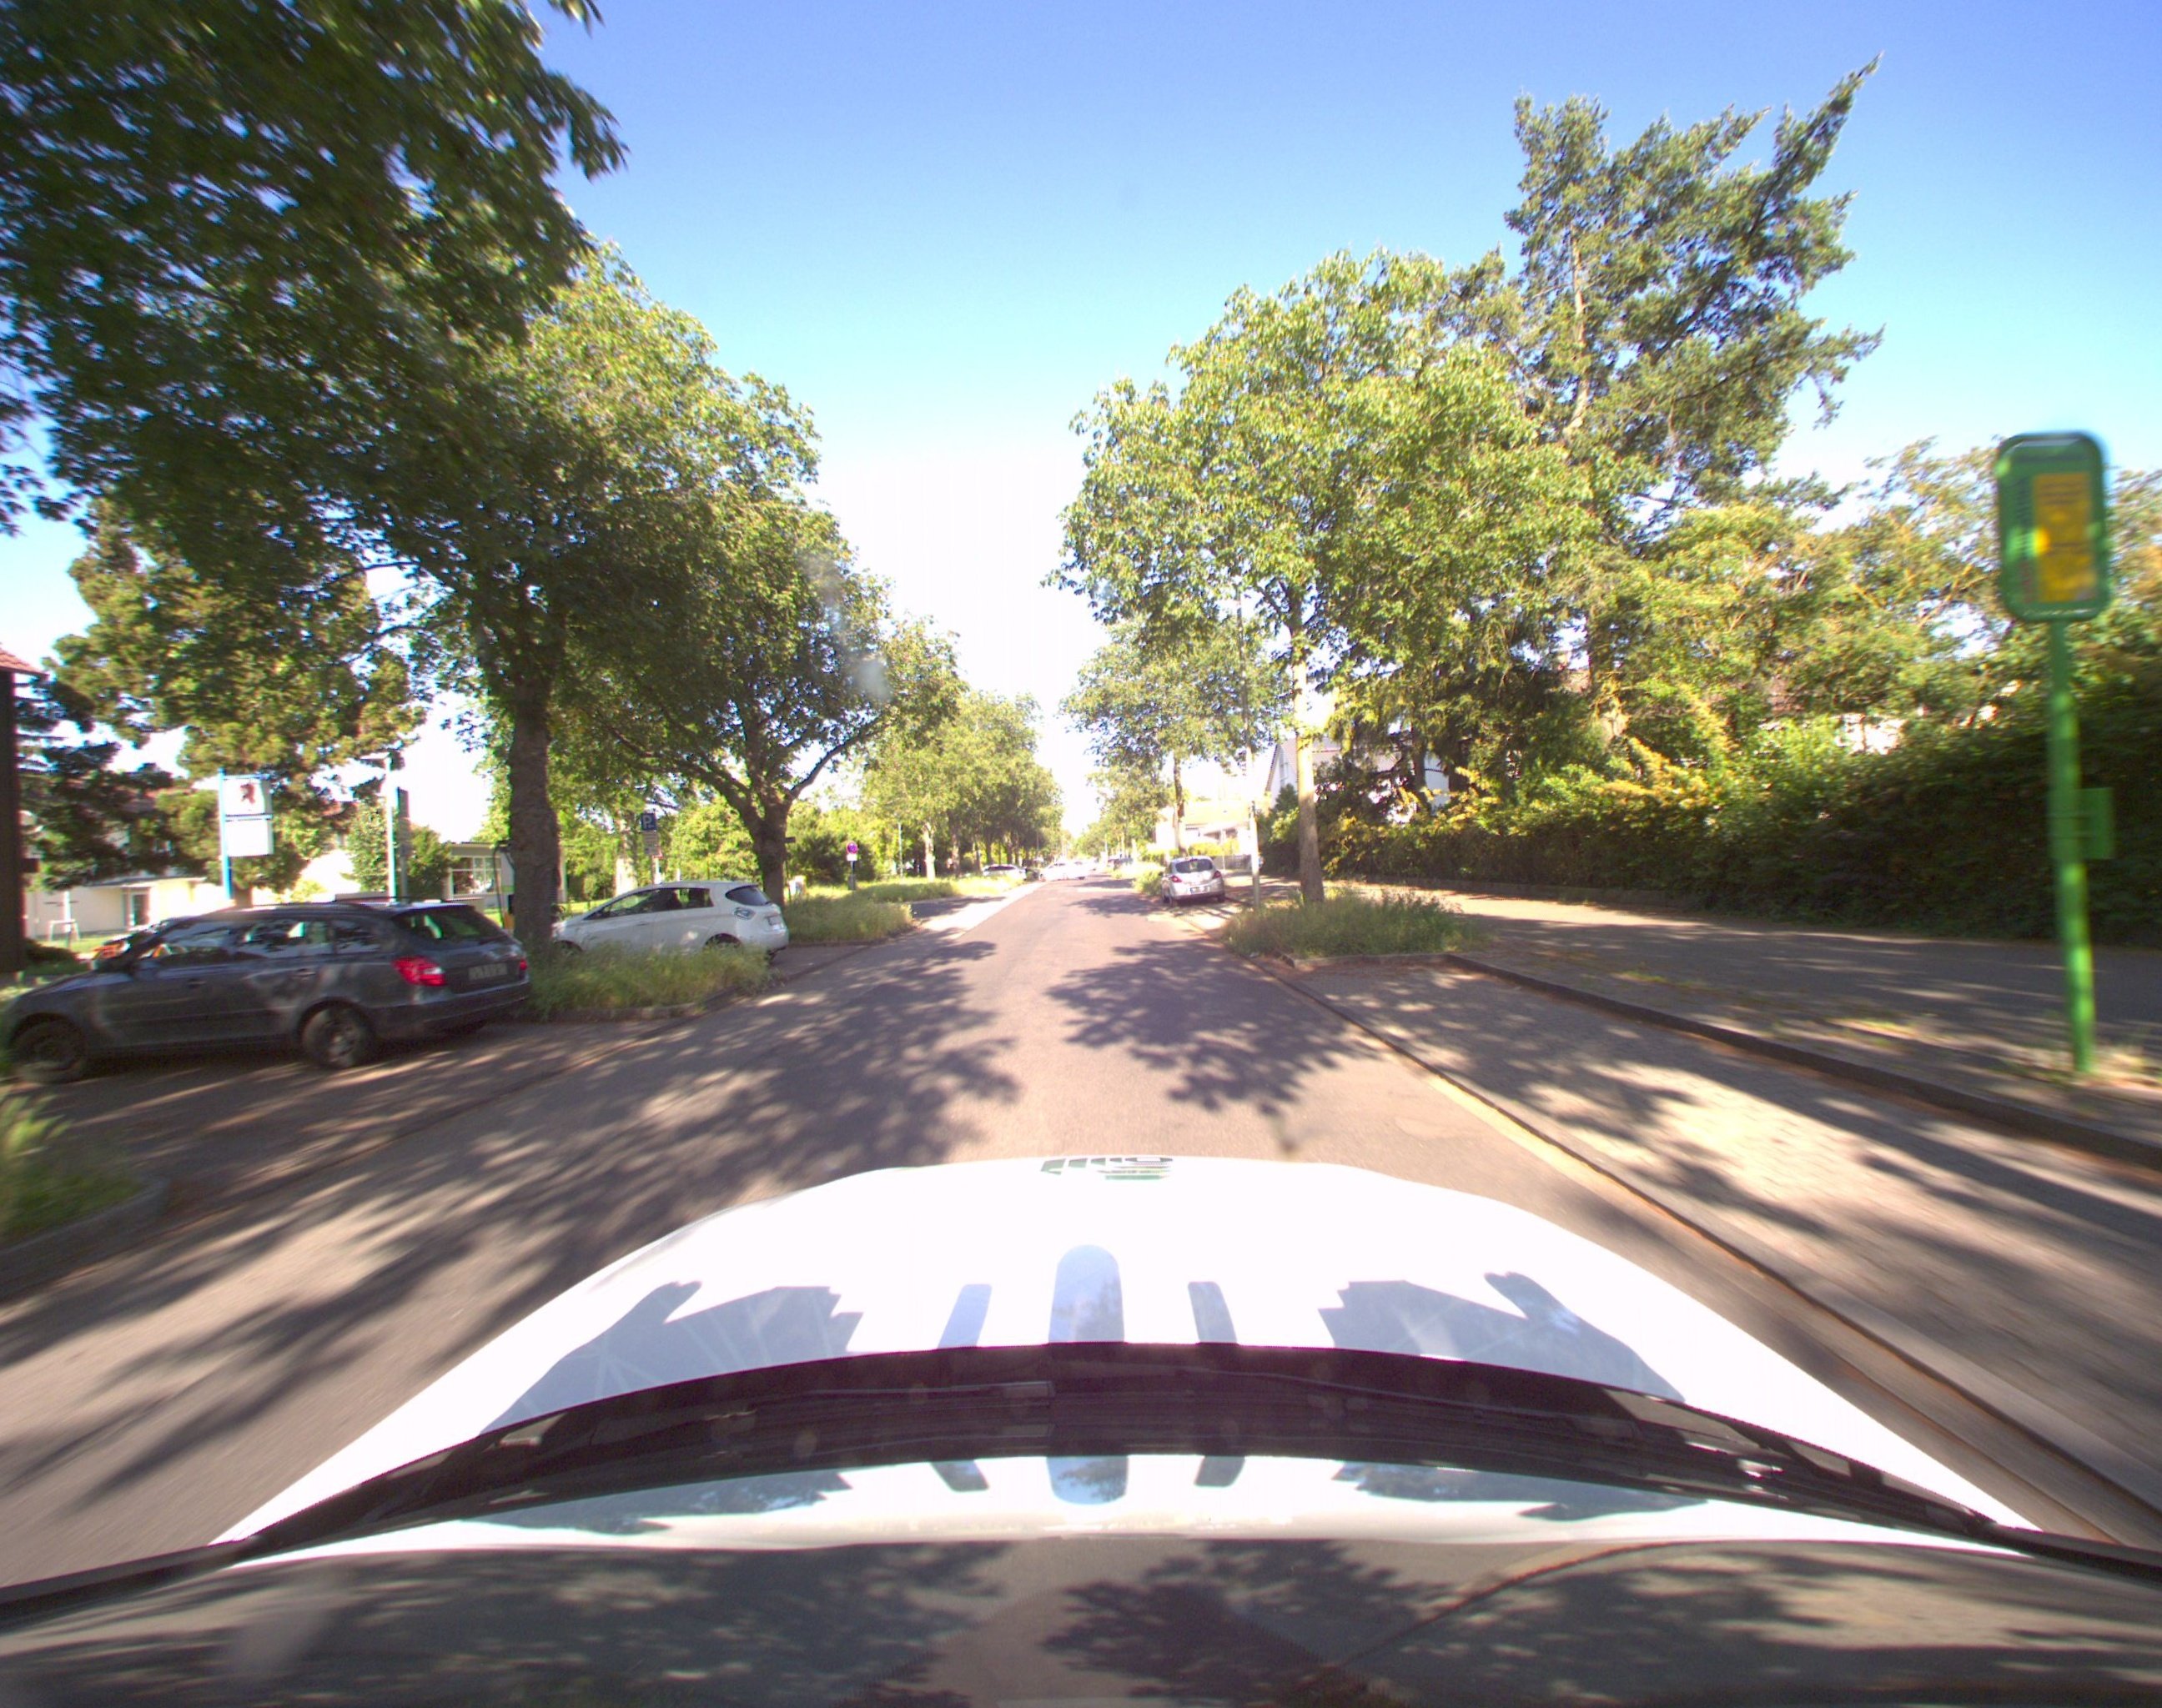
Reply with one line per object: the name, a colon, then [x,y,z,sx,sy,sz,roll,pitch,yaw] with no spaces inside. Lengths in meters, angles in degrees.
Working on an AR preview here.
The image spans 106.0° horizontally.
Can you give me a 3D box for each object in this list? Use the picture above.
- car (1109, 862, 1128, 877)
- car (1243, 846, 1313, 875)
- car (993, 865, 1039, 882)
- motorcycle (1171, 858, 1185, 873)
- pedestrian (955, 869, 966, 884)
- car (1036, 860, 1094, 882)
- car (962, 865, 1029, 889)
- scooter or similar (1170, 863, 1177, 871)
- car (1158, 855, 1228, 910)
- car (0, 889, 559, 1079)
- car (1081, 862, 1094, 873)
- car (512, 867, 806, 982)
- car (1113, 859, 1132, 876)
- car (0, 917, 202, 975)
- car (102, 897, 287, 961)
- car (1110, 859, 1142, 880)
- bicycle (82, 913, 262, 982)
car: [4.801,2.058,105.330,1.989,1.728,3.996,-4,-2,-2]
car: [12.782,0.455,52.960,3.982,1.640,1.772,-3,-1,-6]
car: [-6.333,1.905,80.110,4.355,1.531,1.806,-1,-1,-1]
motorcycle: [8.175,0.953,69.067,0.815,1.227,2.351,-4,-1,0]
pedestrian: [-15.395,2.885,103.955,1.228,1.827,1.542,-1,-2,-17]
car: [-1.229,1.292,61.991,2.012,1.455,4.172,-2,-1,-45]
car: [-6.281,1.680,60.343,4.654,1.503,2.000,-2,-1,1]
scooter or similar: [10.521,1.492,92.967,0.368,0.858,1.405,-1,-1,-13]
car: [3.579,0.903,26.239,1.983,1.510,4.008,-4,-2,7]
car: [-7.829,1.166,8.051,3.975,1.589,1.999,0,-1,-1]
car: [0.943,2.022,121.965,1.987,1.508,3.657,0,-1,0]
car: [-7.104,1.149,14.079,3.976,1.661,1.966,-2,-1,-1]
car: [3.965,1.289,78.275,1.605,1.622,4.381,0,-1,1]
car: [-27.156,2.474,22.176,3.983,1.367,1.995,0,-1,-7]
car: [-29.951,2.511,27.625,3.974,1.820,1.999,-3,-1,-1]
car: [3.652,1.250,66.529,1.991,1.622,4.372,0,-1,-6]
bicycle: [-20.924,2.084,18.945,0.705,1.176,4.034,-3,0,-16]
